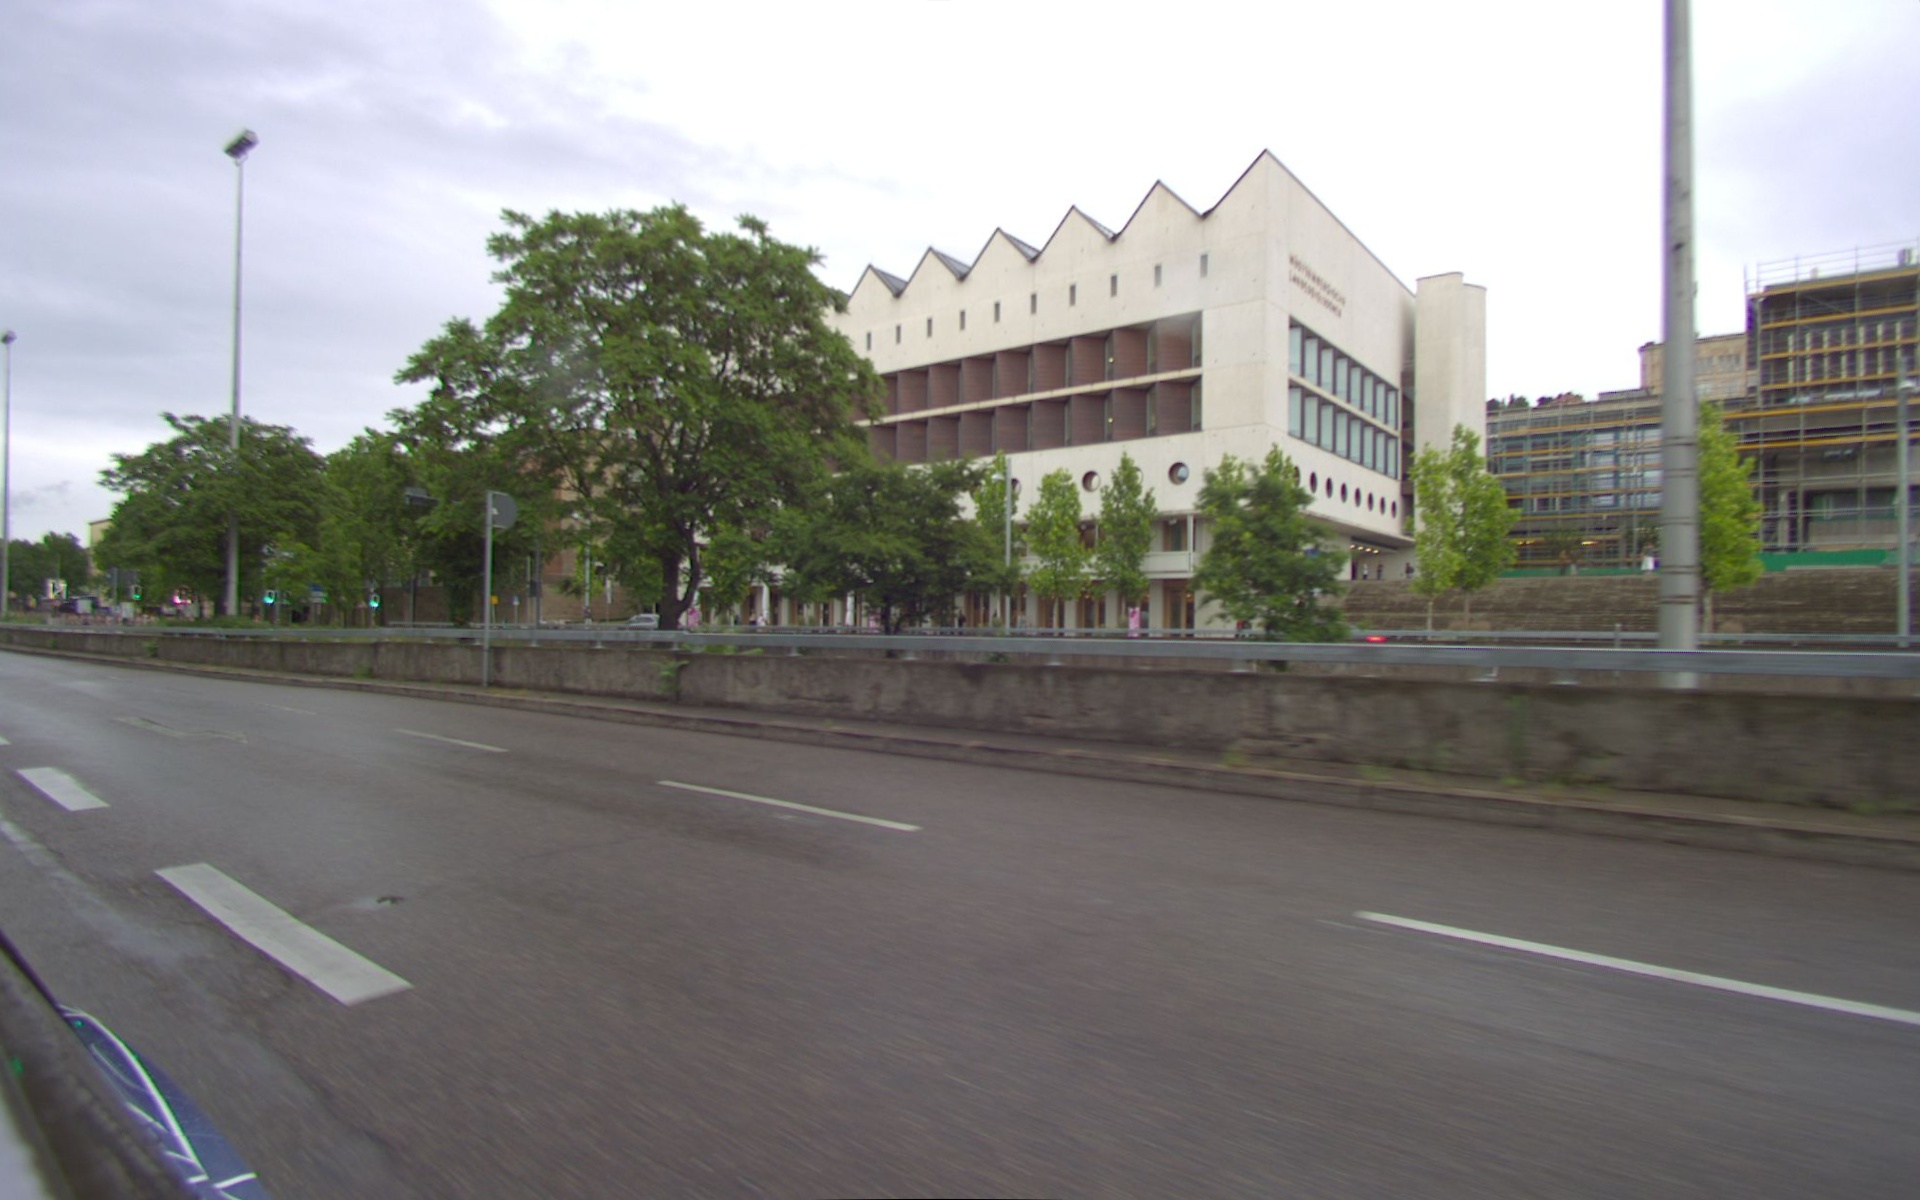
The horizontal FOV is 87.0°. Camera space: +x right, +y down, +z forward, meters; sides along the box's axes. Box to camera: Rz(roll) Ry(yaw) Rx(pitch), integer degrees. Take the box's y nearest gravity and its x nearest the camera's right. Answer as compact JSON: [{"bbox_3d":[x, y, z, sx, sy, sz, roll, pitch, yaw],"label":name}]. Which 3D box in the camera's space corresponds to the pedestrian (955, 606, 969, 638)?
[{"bbox_3d":[0.134,1.312,60.896,0.729,1.873,0.703,0,0,-8],"label":"pedestrian"}]

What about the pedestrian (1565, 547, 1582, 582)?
[{"bbox_3d":[35.682,-2.053,58.846,0.629,2.029,0.608,0,0,-34],"label":"pedestrian"}]

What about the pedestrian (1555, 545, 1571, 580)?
[{"bbox_3d":[35.369,-2.213,59.400,0.629,2.029,0.607,0,0,-37],"label":"pedestrian"}]

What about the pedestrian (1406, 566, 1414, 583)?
[{"bbox_3d":[29.311,-1.663,65.927,0.413,1.120,0.313,0,0,-29],"label":"pedestrian"}]

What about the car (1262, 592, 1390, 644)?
[{"bbox_3d":[11.489,0.539,31.868,3.470,1.567,1.678,0,0,37],"label":"car"}]

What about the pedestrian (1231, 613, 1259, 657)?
[{"bbox_3d":[12.451,1.523,44.155,0.829,1.880,1.075,0,0,39],"label":"pedestrian"}]

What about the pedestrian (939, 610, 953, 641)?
[{"bbox_3d":[-0.822,1.531,60.729,0.729,1.873,0.703,0,0,-8],"label":"pedestrian"}]

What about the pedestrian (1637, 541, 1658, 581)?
[{"bbox_3d":[34.494,-1.950,50.770,0.597,2.029,0.640,0,0,-3],"label":"pedestrian"}]

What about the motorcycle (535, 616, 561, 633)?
[{"bbox_3d":[-30.515,1.793,74.940,0.603,1.191,1.800,0,0,26],"label":"motorcycle"}]

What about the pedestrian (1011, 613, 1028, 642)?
[{"bbox_3d":[3.436,1.596,58.670,0.700,1.639,0.732,0,0,35],"label":"pedestrian"}]

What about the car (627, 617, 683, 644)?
[{"bbox_3d":[-15.695,1.538,52.009,2.816,1.287,1.283,0,0,35],"label":"car"}]
